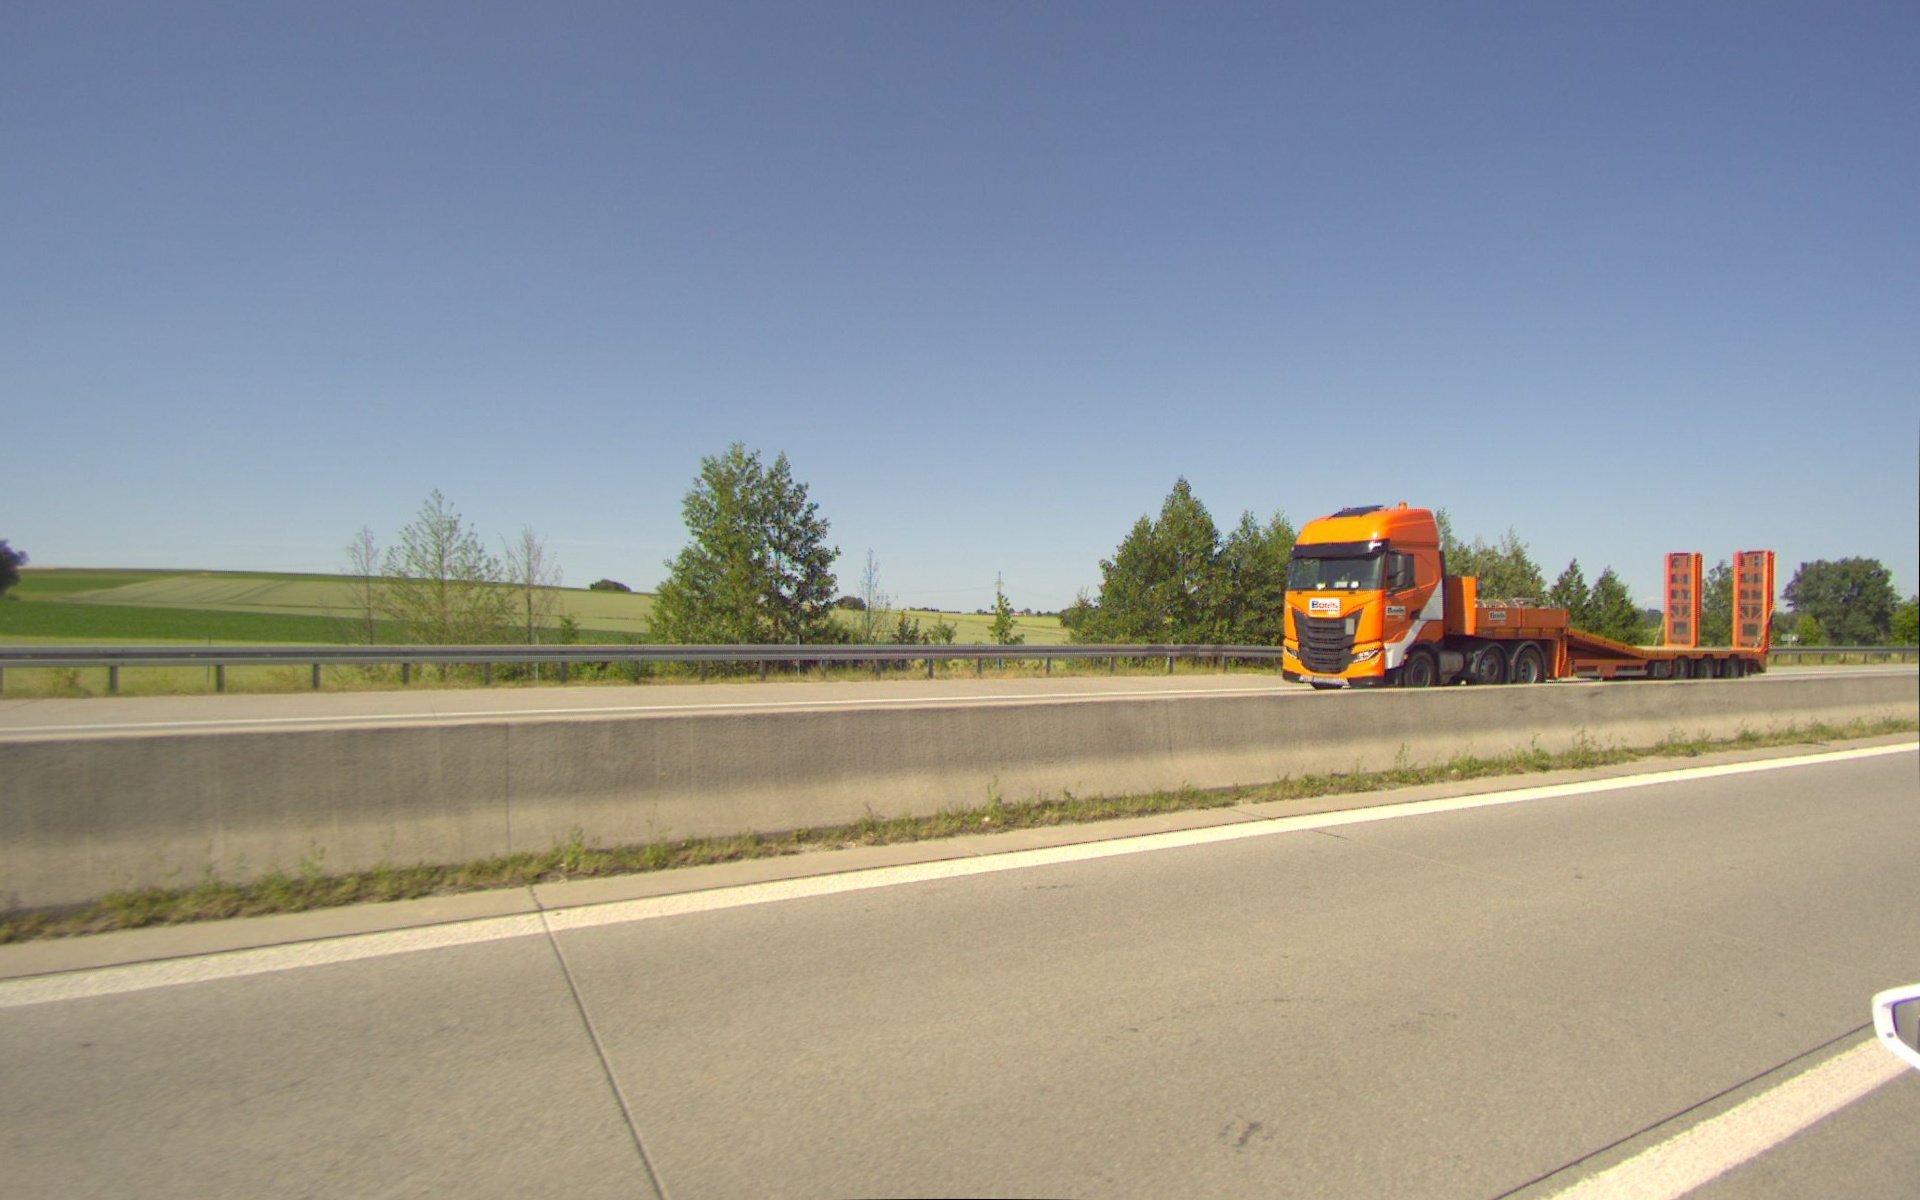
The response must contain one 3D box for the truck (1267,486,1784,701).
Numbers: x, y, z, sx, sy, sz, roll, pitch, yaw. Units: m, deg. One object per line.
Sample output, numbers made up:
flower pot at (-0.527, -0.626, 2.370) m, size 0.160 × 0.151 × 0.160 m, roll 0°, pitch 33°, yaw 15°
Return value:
truck at (14.566, 0.102, 24.478) m, size 16.915 × 4.068 × 2.854 m, roll 2°, pitch -1°, yaw -30°
